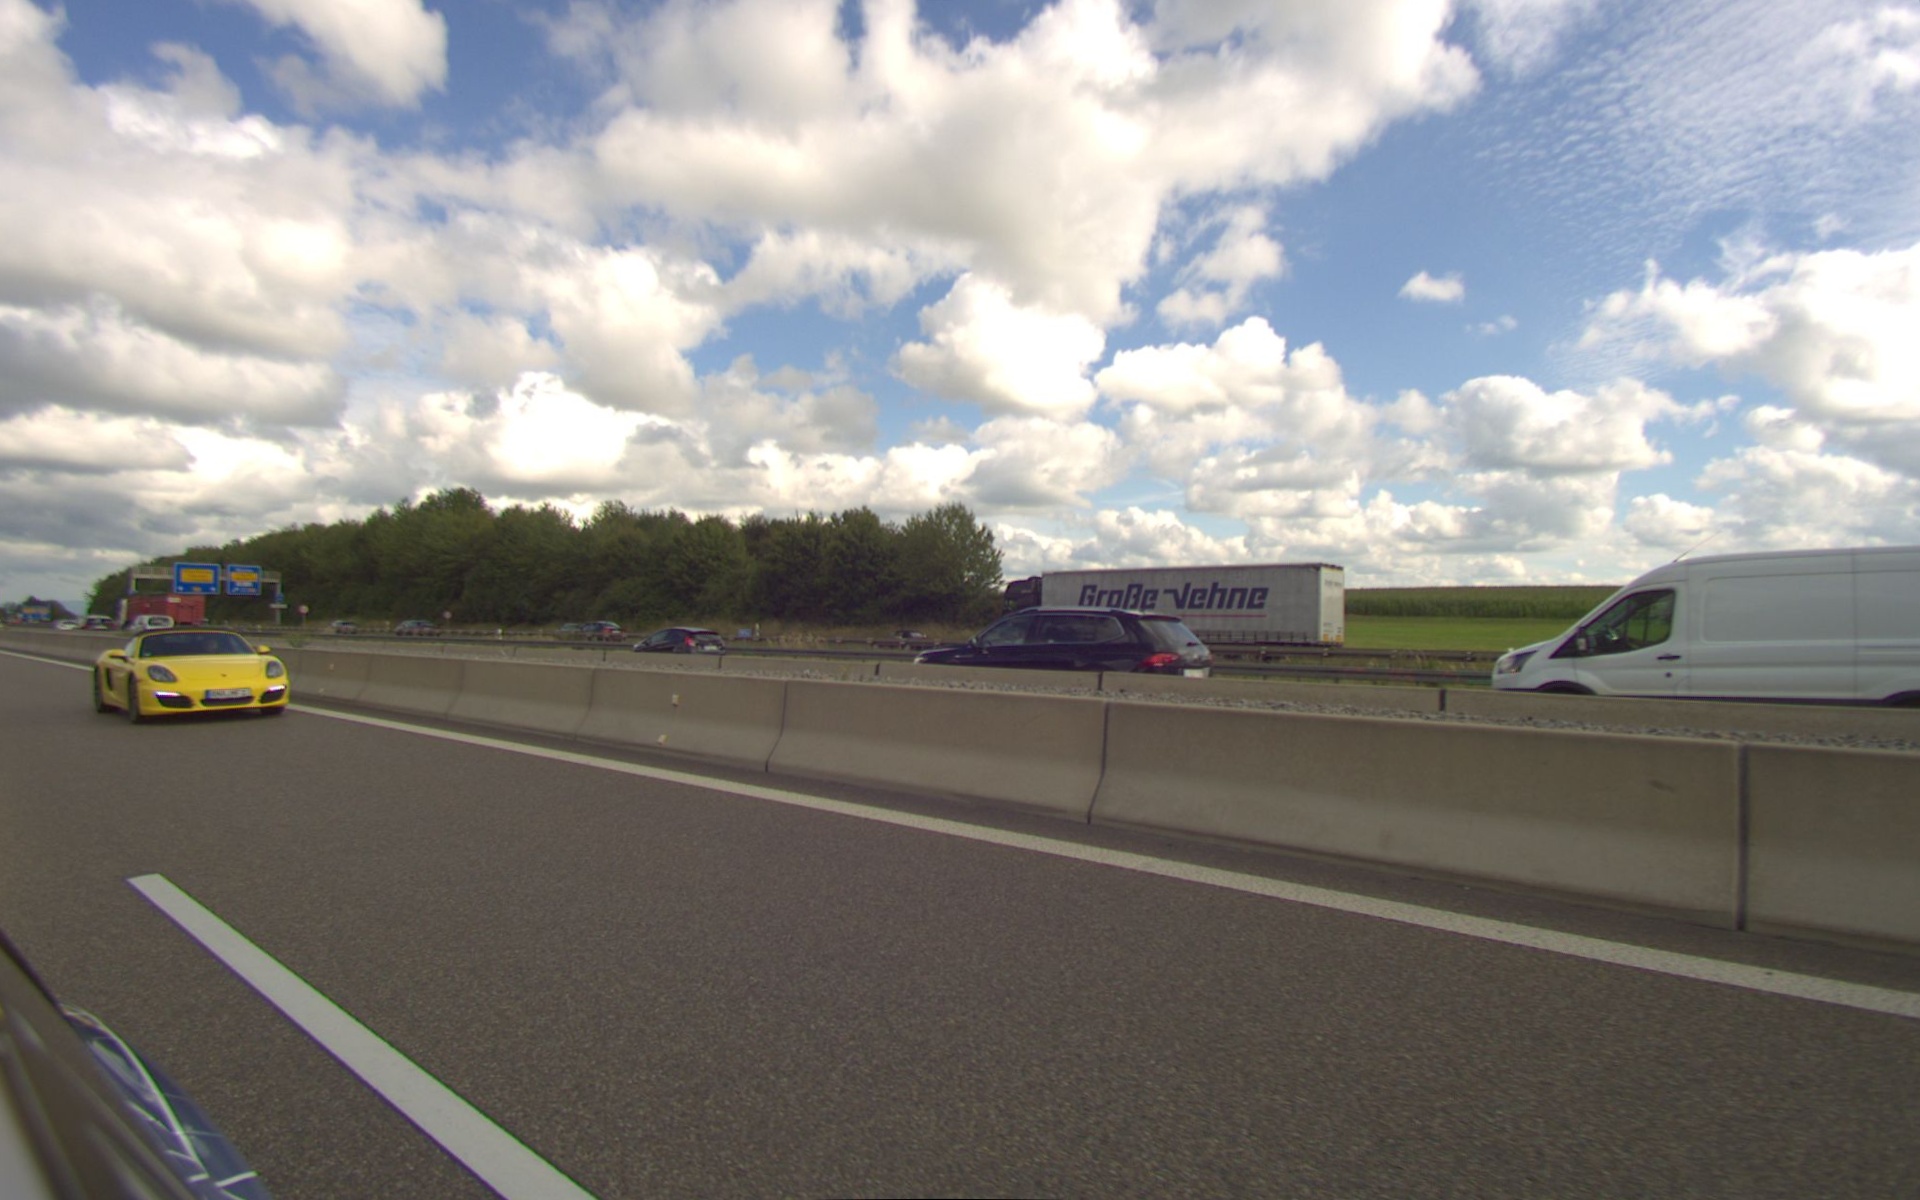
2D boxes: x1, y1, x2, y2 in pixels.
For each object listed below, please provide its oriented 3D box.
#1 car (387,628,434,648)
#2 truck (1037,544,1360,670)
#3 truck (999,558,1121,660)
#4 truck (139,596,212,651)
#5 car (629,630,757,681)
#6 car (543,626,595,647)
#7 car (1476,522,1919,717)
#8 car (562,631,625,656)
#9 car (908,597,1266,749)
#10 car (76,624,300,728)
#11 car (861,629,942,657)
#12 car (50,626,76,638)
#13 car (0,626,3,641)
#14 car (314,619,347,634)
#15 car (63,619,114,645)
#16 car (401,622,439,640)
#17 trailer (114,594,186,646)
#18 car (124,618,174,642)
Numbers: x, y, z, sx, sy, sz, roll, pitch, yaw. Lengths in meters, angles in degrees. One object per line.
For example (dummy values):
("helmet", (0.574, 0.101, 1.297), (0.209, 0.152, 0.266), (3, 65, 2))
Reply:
("car", (-45.268, 3.100, 83.368), (4.939, 1.543, 1.745), (-1, -1, 41))
("truck", (9.962, 0.368, 44.704), (14.121, 4.839, 3.042), (-1, -1, 42))
("truck", (4.832, 0.444, 49.259), (5.071, 4.694, 3.013), (-1, -1, 42))
("truck", (-64.200, 1.922, 82.760), (8.583, 4.321, 3.015), (-1, -2, 41))
("car", (-8.875, 1.776, 33.433), (4.714, 1.543, 1.745), (-1, -1, 41))
("car", (-31.283, 2.888, 80.912), (4.801, 1.577, 1.729), (-1, -1, 40))
("car", (9.596, 0.222, 11.957), (5.832, 1.982, 2.330), (-1, -1, 42))
("car", (-22.806, 2.694, 62.984), (4.518, 1.420, 1.697), (-1, -1, 41))
("car", (1.580, 0.875, 13.881), (4.700, 1.744, 1.745), (-1, 0, 41))
("car", (-11.548, 1.041, 15.039), (4.245, 1.325, 1.788), (-1, -3, 41))
("car", (-2.967, 2.107, 50.642), (4.111, 1.323, 1.592), (-1, -1, 42))
("car", (-100.180, 3.560, 112.978), (4.128, 1.202, 1.638), (-1, -2, 41))
("car", (-101.642, 3.528, 105.970), (4.640, 1.516, 1.671), (-1, -2, 41))
("car", (-66.824, 2.798, 107.379), (4.450, 1.545, 1.711), (-1, -1, 41))
("car", (-55.551, 2.017, 64.485), (4.940, 1.543, 1.745), (-1, -1, 41))
("car", (-49.398, 2.794, 92.552), (4.272, 1.543, 1.745), (-1, 0, 42))
("trailer", (-71.080, 1.765, 88.711), (10.649, 4.321, 3.015), (-1, -2, 41))
("car", (-55.486, 2.034, 69.211), (4.939, 1.543, 1.745), (-1, -1, 41))
